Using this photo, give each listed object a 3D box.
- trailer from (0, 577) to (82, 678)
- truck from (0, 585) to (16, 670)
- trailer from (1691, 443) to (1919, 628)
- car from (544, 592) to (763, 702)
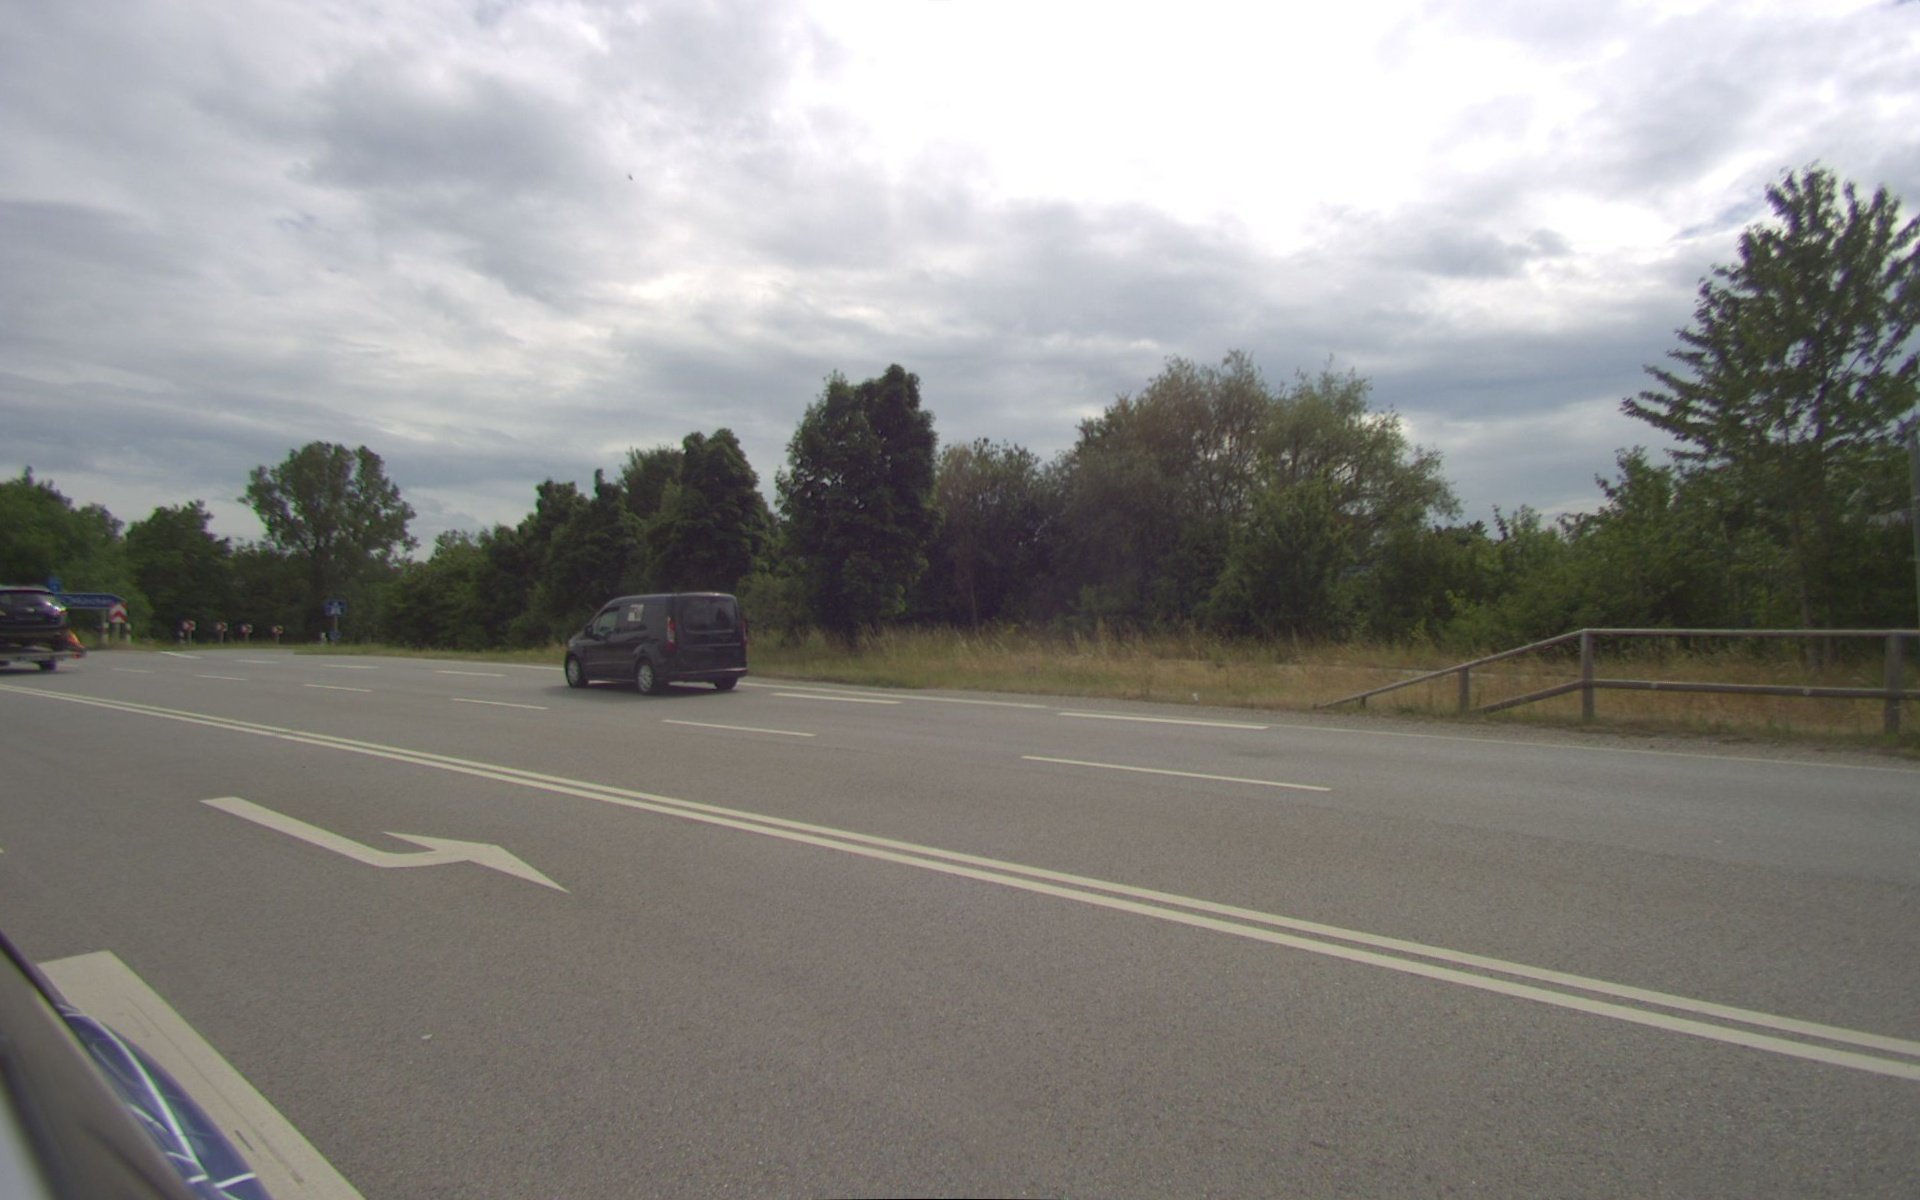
[{"bbox_3d":[-26.090,0.738,27.288,6.949,2.463,2.006,-1,0,35],"label":"trailer"},{"bbox_3d":[-30.175,0.845,30.085,5.011,2.463,2.007,-1,0,34],"label":"truck"},{"bbox_3d":[26.932,-1.797,29.169,8.920,5.034,2.788,-1,-1,21],"label":"trailer"},{"bbox_3d":[-5.793,0.826,18.850,4.319,1.811,1.972,-2,-1,42],"label":"car"}]
